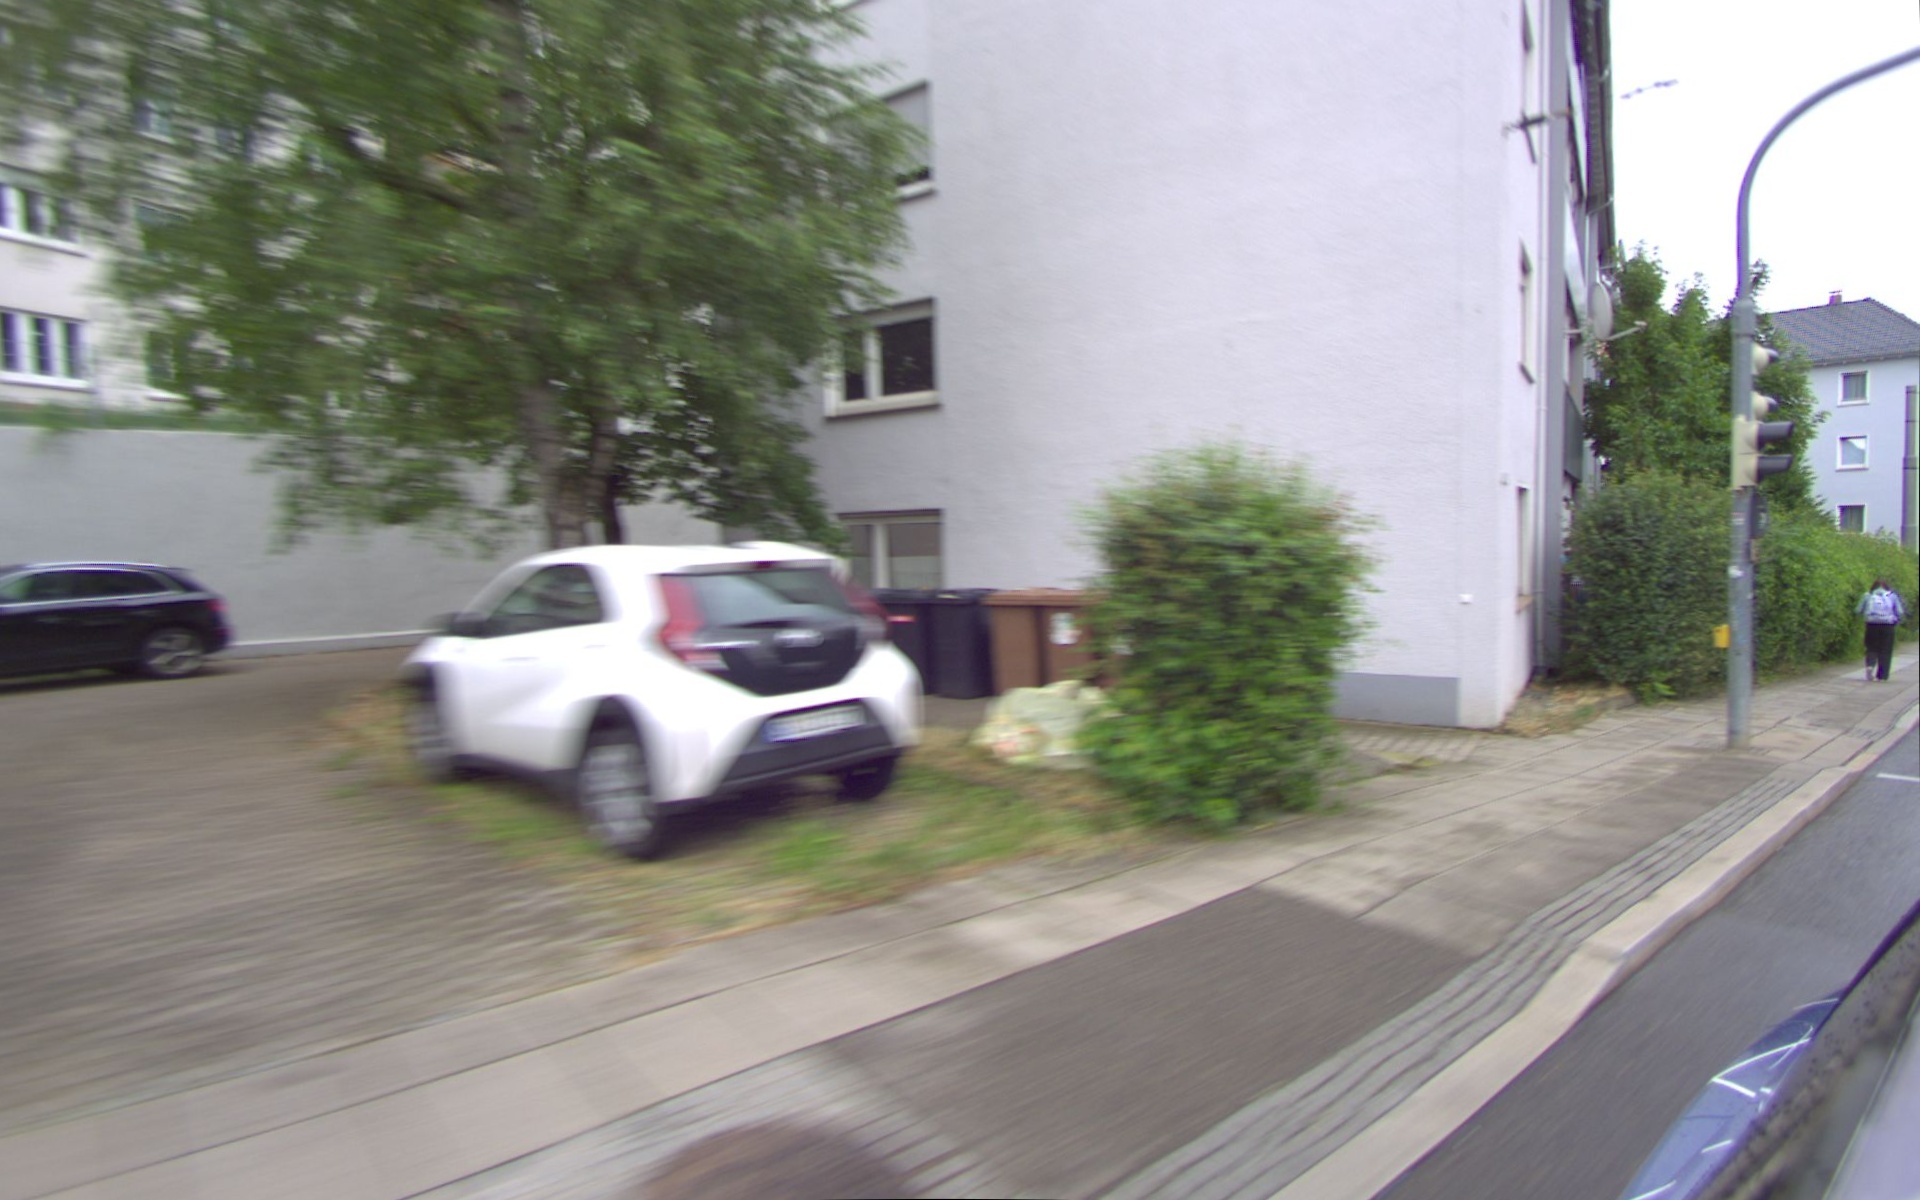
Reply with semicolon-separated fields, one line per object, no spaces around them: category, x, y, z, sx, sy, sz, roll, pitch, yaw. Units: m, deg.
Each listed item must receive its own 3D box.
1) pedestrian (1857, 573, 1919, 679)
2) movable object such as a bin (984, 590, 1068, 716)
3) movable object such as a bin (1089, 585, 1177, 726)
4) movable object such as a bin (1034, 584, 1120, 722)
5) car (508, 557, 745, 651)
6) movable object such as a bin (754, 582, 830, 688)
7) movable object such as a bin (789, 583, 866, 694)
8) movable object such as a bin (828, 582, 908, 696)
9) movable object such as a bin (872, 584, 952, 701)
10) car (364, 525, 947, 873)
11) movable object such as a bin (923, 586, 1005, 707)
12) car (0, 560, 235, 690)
pedestrian;14.958;0.402;16.250;0.618;1.640;0.658;1;1;-36
movable object such as a bin;0.624;0.476;9.501;0.513;1.126;0.635;2;0;35
movable object such as a bin;1.510;0.459;8.788;0.531;1.155;0.694;0;-1;32
movable object such as a bin;1.061;0.454;9.124;0.513;1.173;0.635;2;0;35
car;-6.033;0.076;18.723;1.679;1.531;3.948;0;0;36
movable object such as a bin;-1.860;0.374;11.205;0.513;1.126;0.635;2;0;35
movable object such as a bin;-1.418;0.397;10.867;0.513;1.126;0.635;2;0;35
movable object such as a bin;-0.954;0.392;10.528;0.513;1.126;0.635;2;0;35
movable object such as a bin;-0.483;0.416;10.283;0.513;1.126;0.635;2;0;35
car;-2.119;0.421;6.364;3.986;1.485;1.788;0;0;44
movable object such as a bin;0.043;0.437;9.883;0.513;1.126;0.635;2;0;35
car;-12.491;0.308;13.412;1.735;1.624;4.375;0;0;31
